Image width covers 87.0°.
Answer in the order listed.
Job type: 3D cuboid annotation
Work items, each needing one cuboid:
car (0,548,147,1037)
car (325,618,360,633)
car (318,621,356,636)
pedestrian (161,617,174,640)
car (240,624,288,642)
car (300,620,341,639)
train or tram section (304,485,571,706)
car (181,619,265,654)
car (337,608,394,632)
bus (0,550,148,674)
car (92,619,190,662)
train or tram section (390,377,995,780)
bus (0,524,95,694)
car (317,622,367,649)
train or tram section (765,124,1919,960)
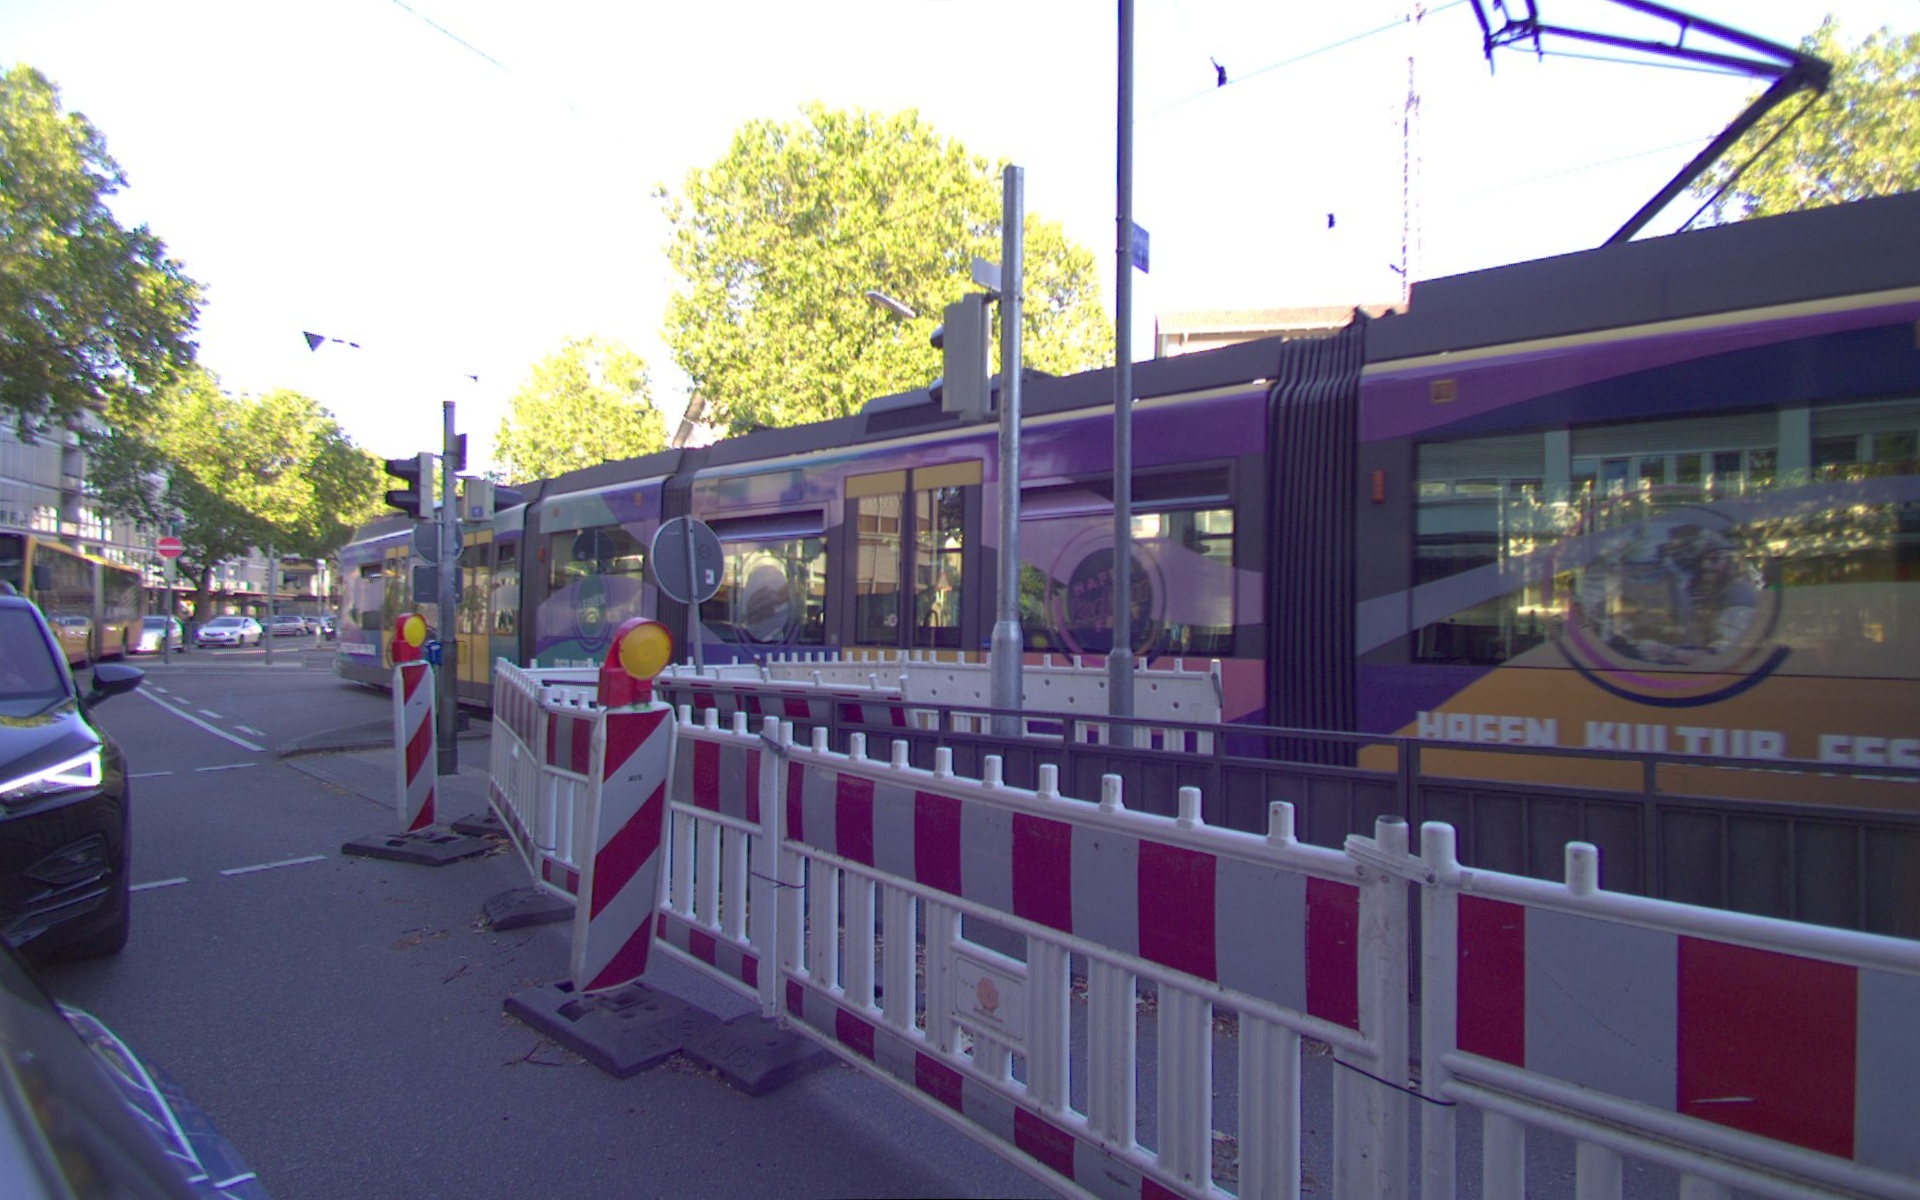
[{"bbox_3d":[-5.169,0.689,4.596,4.300,1.670,1.823,-1,-1,45],"label":"car"},{"bbox_3d":[-58.153,2.408,95.268,1.201,1.399,2.592,0,-1,43],"label":"car"},{"bbox_3d":[-54.848,2.498,89.094,1.201,1.290,2.592,0,-1,43],"label":"car"},{"bbox_3d":[-55.636,1.997,71.054,0.508,1.669,0.572,1,-1,-22],"label":"pedestrian"},{"bbox_3d":[-50.903,2.416,74.026,1.198,1.226,2.599,0,-1,34],"label":"car"},{"bbox_3d":[-52.364,2.427,82.918,1.201,1.484,2.592,0,-1,43],"label":"car"},{"bbox_3d":[-11.262,0.013,21.019,2.799,3.514,10.356,1,-1,-39],"label":"train or tram section"},{"bbox_3d":[-35.295,1.724,48.620,1.923,1.562,4.771,1,-1,-19],"label":"car"},{"bbox_3d":[-61.623,2.040,104.996,1.873,2.394,4.817,0,-1,30],"label":"car"},{"bbox_3d":[-26.356,0.385,29.795,2.708,3.127,9.523,1,-2,-32],"label":"bus"},{"bbox_3d":[-30.907,1.484,38.318,1.880,1.486,4.432,1,-1,-25],"label":"car"},{"bbox_3d":[-4.316,-0.116,13.446,10.341,3.514,2.839,-1,-1,44],"label":"train or tram section"},{"bbox_3d":[-21.013,0.226,21.895,2.710,3.127,9.519,1,-2,-36],"label":"bus"},{"bbox_3d":[-36.917,2.102,60.572,1.923,1.486,4.772,1,-1,-24],"label":"car"},{"bbox_3d":[3.252,-0.210,6.634,10.323,3.514,2.809,-1,-1,38],"label":"train or tram section"}]
